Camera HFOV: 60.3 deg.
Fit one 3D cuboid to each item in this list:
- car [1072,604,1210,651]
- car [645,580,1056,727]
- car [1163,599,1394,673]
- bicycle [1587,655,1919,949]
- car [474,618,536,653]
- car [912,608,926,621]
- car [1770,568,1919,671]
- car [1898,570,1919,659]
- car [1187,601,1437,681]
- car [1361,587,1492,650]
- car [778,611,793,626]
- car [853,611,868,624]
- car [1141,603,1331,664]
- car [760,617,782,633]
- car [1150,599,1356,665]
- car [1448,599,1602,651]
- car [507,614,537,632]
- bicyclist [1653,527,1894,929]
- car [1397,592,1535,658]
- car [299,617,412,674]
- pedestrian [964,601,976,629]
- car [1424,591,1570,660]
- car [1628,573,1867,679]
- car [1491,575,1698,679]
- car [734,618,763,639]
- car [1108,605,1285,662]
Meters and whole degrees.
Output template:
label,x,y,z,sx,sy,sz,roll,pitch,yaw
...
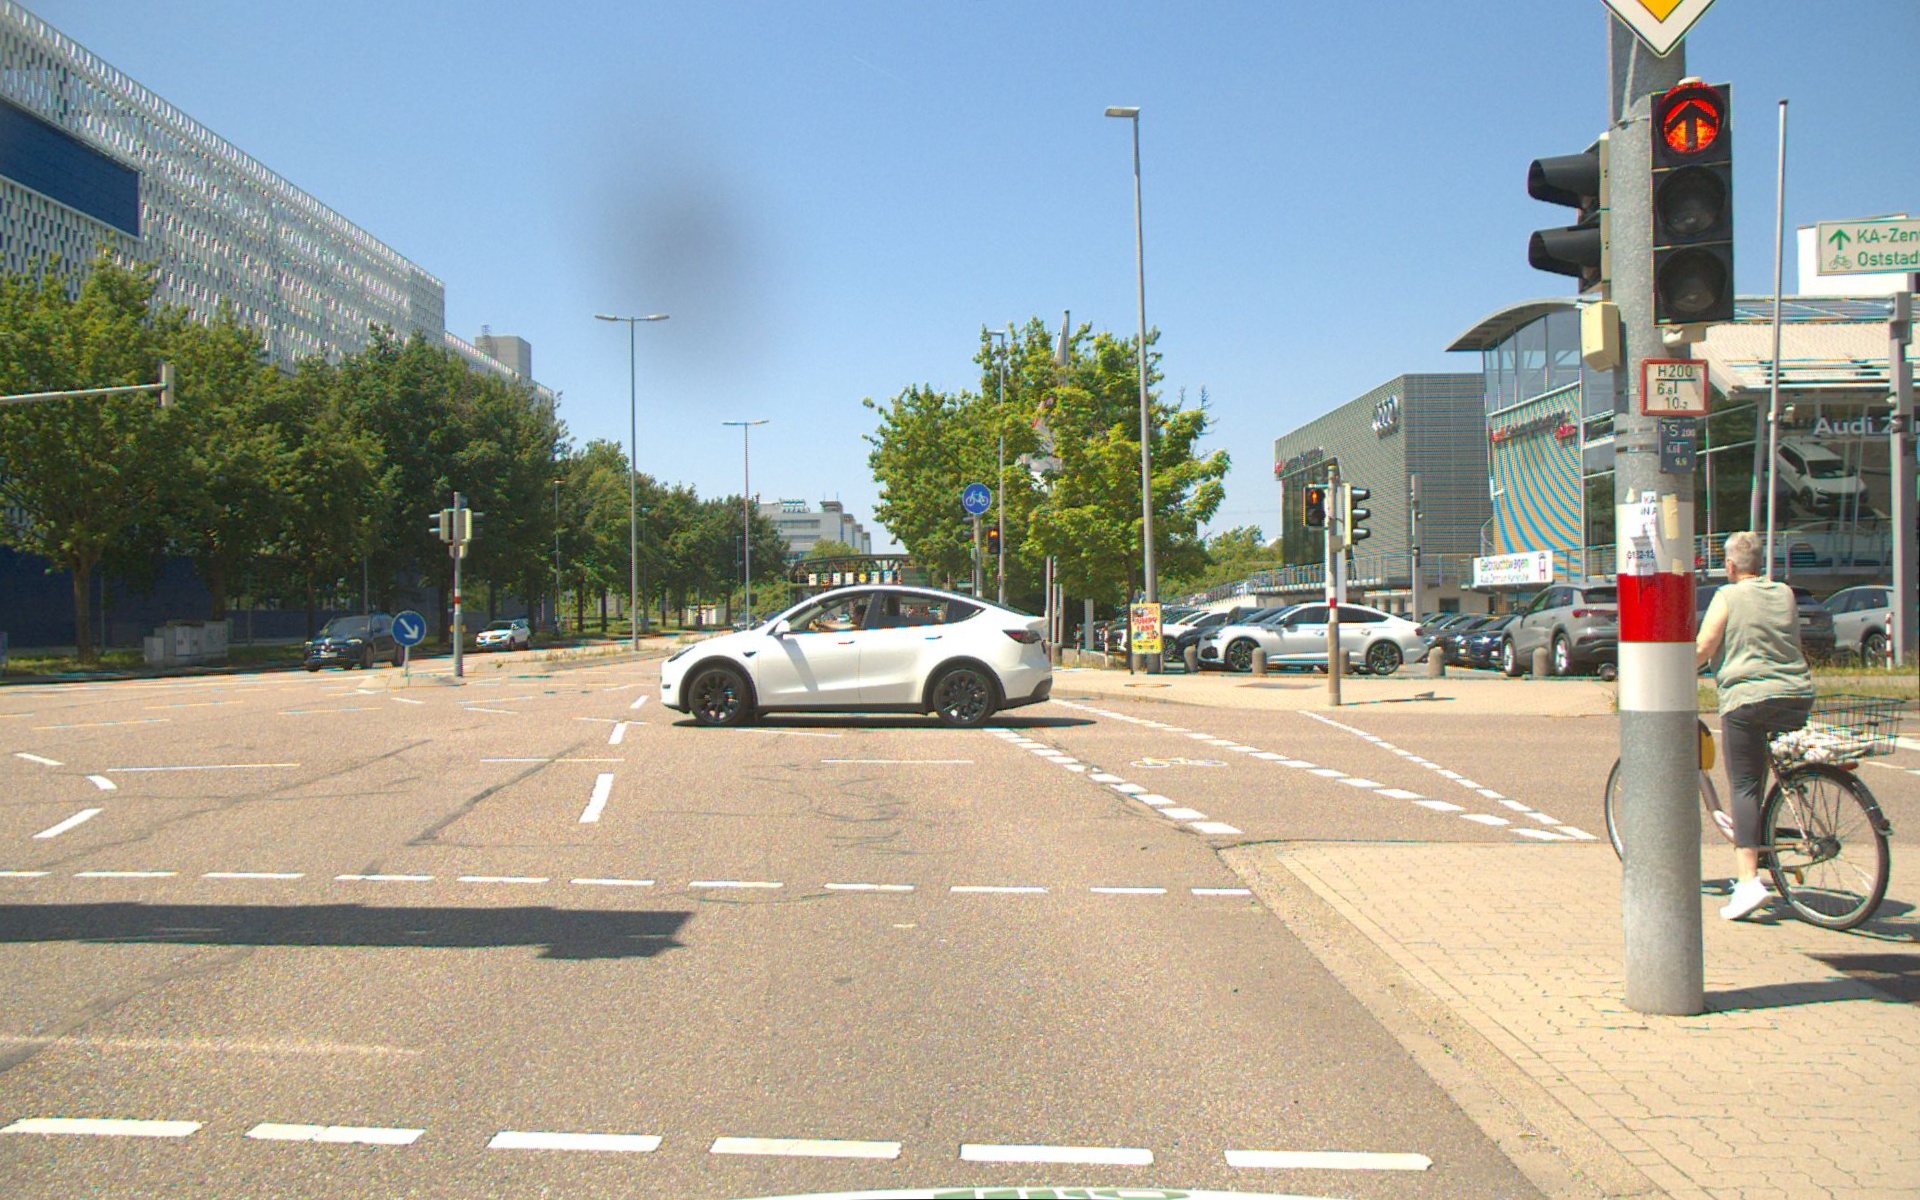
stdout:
label,x,y,z,sx,sy,sz,roll,pitch,yaw
car,6.437,0.965,59.090,4.646,1.482,1.999,-2,0,-3
car,-1.199,0.618,19.554,4.581,1.616,2.001,0,-1,5
car,6.867,0.784,36.036,4.643,1.482,2.000,-1,-1,1
bicycle,3.798,0.877,7.885,0.771,1.147,1.919,0,0,-4
car,-23.131,1.797,84.212,1.886,1.694,4.089,-1,-1,2
car,-5.464,1.931,220.648,1.736,1.758,3.999,-1,-1,-1
car,16.482,0.287,29.378,1.953,1.668,4.440,-1,0,-1
car,18.848,0.257,29.270,1.847,1.668,4.524,-1,0,-1
car,7.019,0.803,33.369,4.643,1.482,2.000,-1,0,1
car,15.975,0.641,56.750,3.905,2.049,2.000,-1,0,0
car,-19.785,2.057,187.681,1.617,1.682,4.159,-1,0,-5
car,-13.518,2.388,224.520,1.736,1.758,3.999,-1,-1,-1
car,7.268,0.868,43.872,4.646,1.482,1.999,-1,0,-3
car,-17.191,2.265,150.369,1.650,1.436,3.664,-1,-1,-1
car,7.024,0.758,40.036,4.643,1.482,2.000,-1,0,1
car,16.865,0.728,49.452,4.008,1.486,1.719,-1,0,0
car,-47.105,2.435,177.839,1.952,1.842,4.030,1,0,2
bicyclist,3.782,0.568,7.740,0.719,1.779,0.753,0,0,-5
car,16.672,0.819,54.608,3.905,2.049,2.000,-1,0,0
car,-18.359,1.348,50.426,1.837,1.626,4.495,-1,-1,-1
pedestrian,0.553,0.848,91.504,0.654,1.537,0.736,-1,0,-1
car,16.781,0.774,51.794,3.905,2.049,2.000,-1,0,0
car,13.689,0.407,29.097,1.953,1.668,4.557,-1,0,-1
car,11.045,0.426,29.129,1.953,1.668,4.267,-1,0,-1
car,-16.181,2.163,126.734,1.697,1.452,3.705,-3,-1,-1
car,6.625,0.937,46.632,4.646,1.482,1.999,-1,0,-3
